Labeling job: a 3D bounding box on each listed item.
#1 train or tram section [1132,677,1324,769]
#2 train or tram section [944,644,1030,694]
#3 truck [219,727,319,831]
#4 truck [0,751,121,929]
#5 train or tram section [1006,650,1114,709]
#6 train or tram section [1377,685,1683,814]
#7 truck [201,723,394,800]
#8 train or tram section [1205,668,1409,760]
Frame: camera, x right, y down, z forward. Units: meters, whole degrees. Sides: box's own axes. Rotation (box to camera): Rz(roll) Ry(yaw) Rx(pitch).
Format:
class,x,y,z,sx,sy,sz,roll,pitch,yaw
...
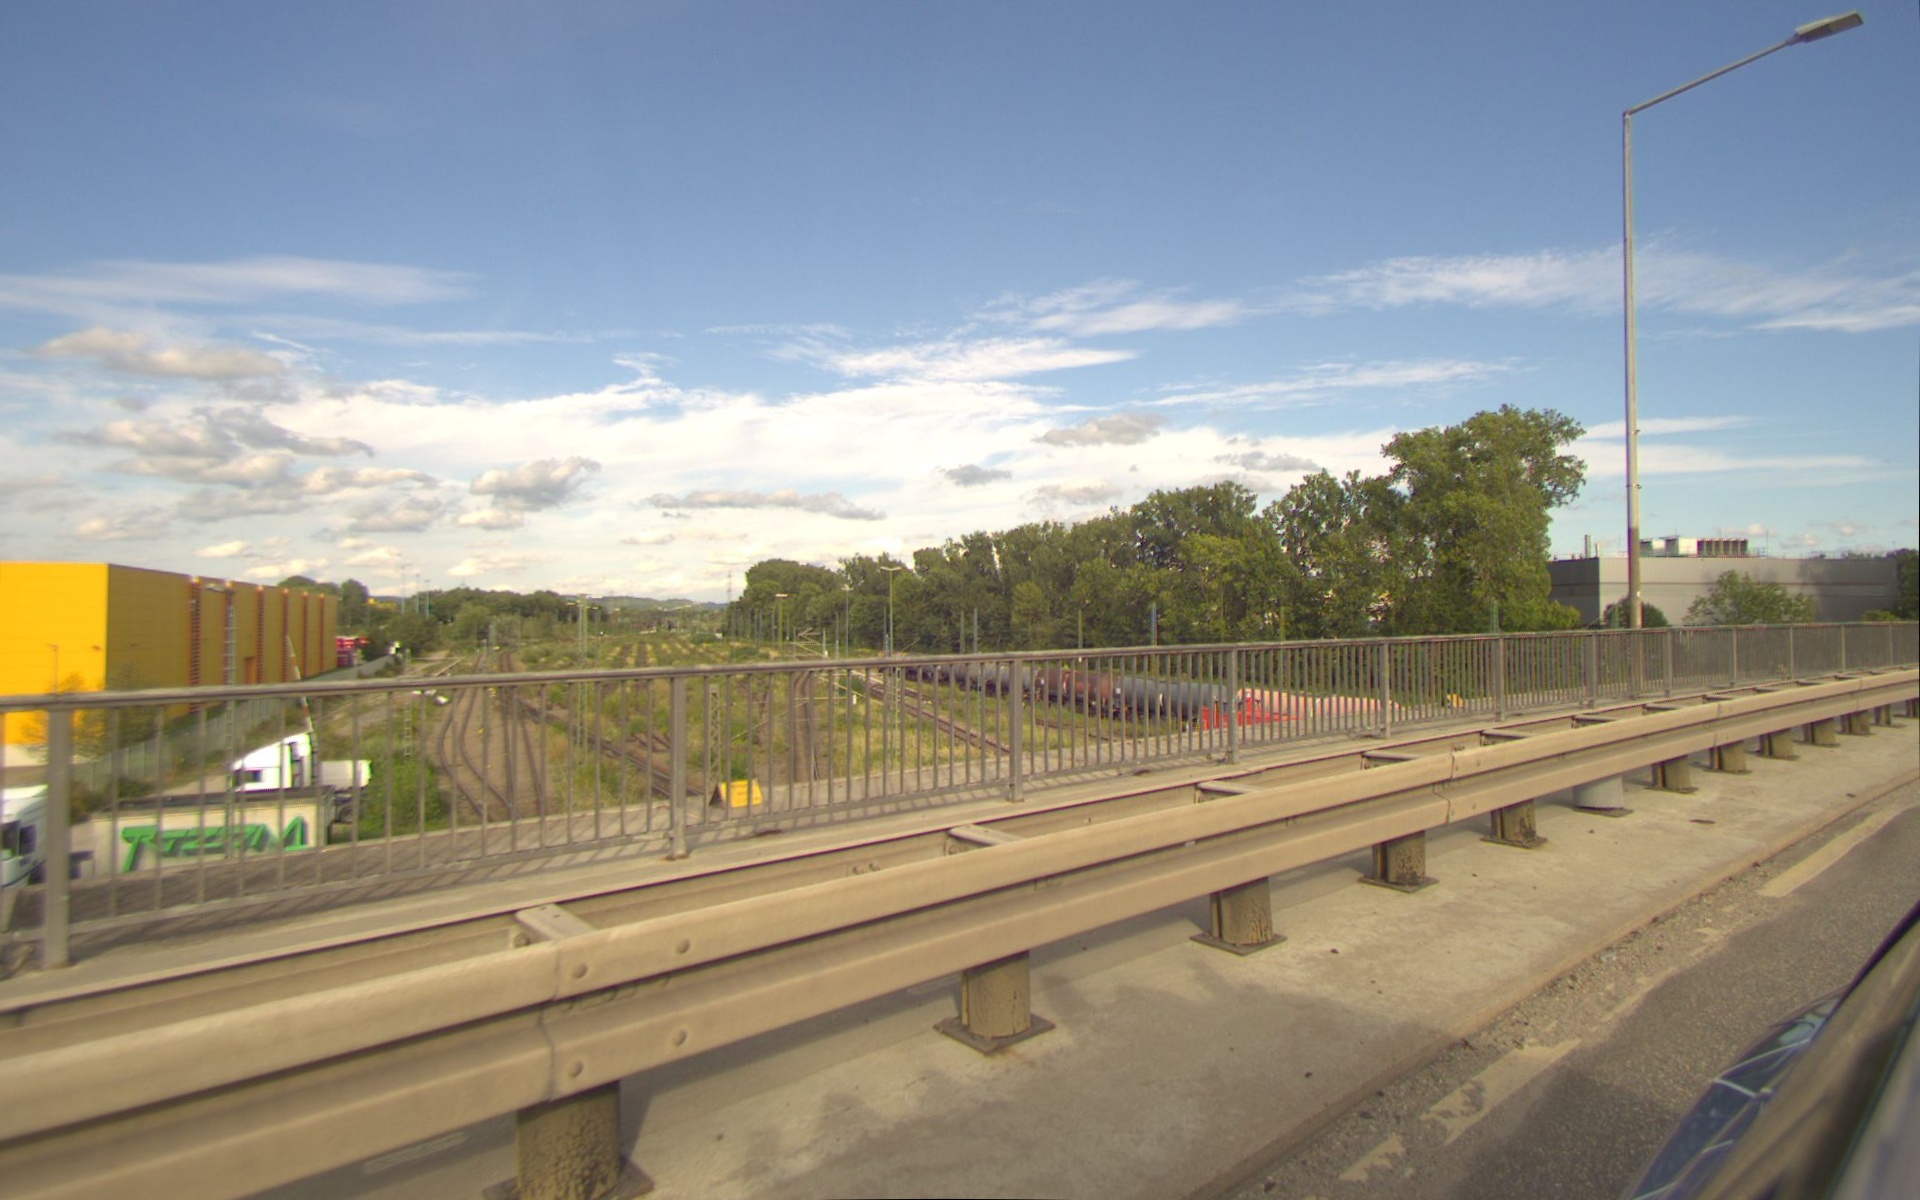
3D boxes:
class,x,y,z,sx,sy,sz,roll,pitch,yaw
train or tram section,18.749,8.509,73.341,3.033,4.196,17.334,0,1,-25
train or tram section,2.869,7.947,119.644,3.033,4.772,16.776,0,0,-25
truck,-33.733,8.600,49.684,2.611,3.663,7.247,2,0,-24
truck,-32.280,8.022,35.001,2.611,4.143,8.636,2,0,-24
train or tram section,9.926,7.975,104.430,3.033,4.772,16.776,0,0,-25
train or tram section,32.410,8.233,59.368,3.033,4.771,16.776,0,1,-27
truck,-35.392,8.613,54.507,8.442,3.422,2.040,2,0,-27
train or tram section,24.786,7.998,74.250,3.033,4.772,16.773,0,0,-27
